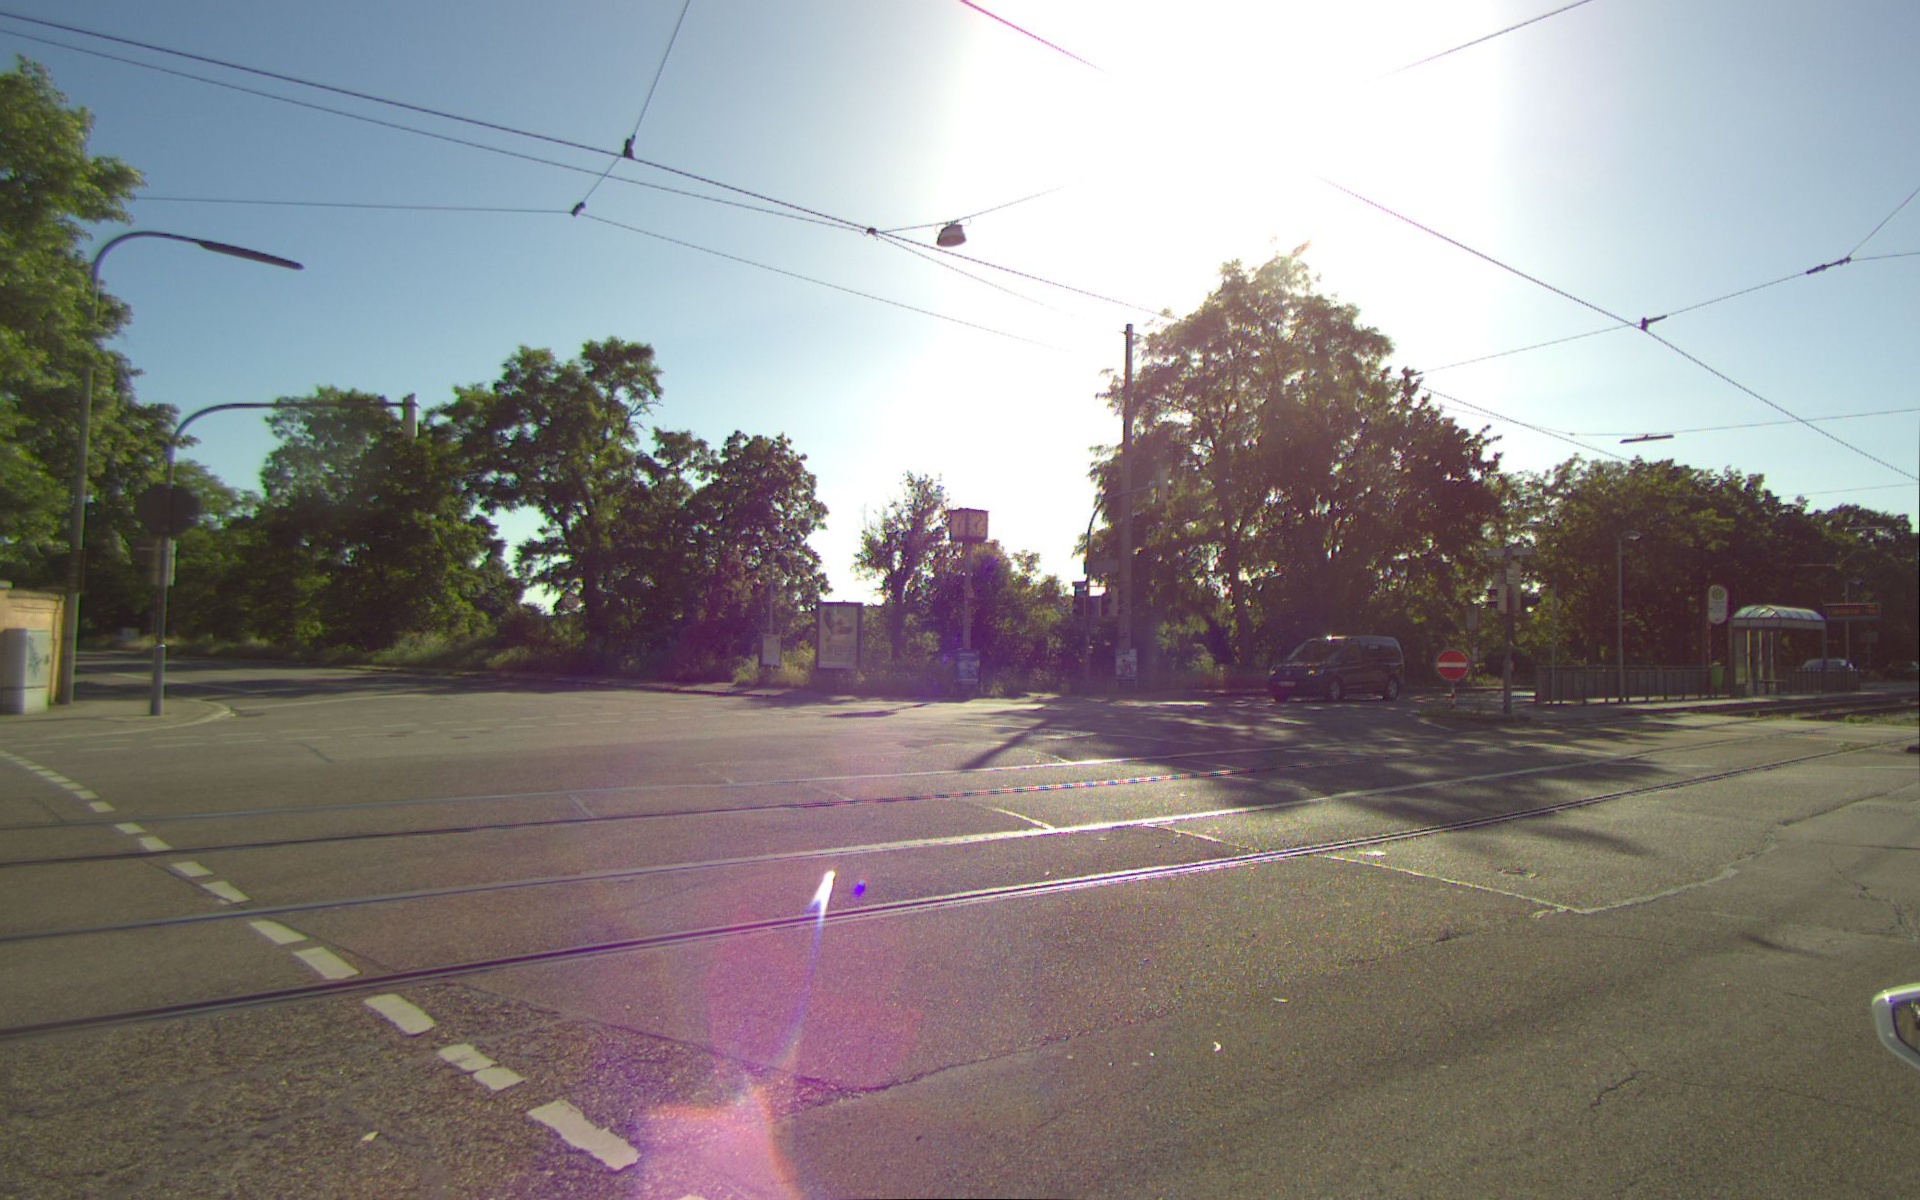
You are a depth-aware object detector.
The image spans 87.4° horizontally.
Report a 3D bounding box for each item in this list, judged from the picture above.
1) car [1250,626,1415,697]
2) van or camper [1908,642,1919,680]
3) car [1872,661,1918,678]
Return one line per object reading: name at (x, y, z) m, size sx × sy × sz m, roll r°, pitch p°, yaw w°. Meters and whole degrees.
car at (10.379, 1.723, 27.792) m, size 4.988 × 1.790 × 1.979 m, roll 4°, pitch -4°, yaw -38°
van or camper at (84.373, 5.284, 86.760) m, size 6.726 × 3.146 × 2.571 m, roll 3°, pitch -3°, yaw -37°
car at (74.098, 5.508, 79.556) m, size 3.961 × 1.282 × 1.908 m, roll 3°, pitch -3°, yaw -35°
